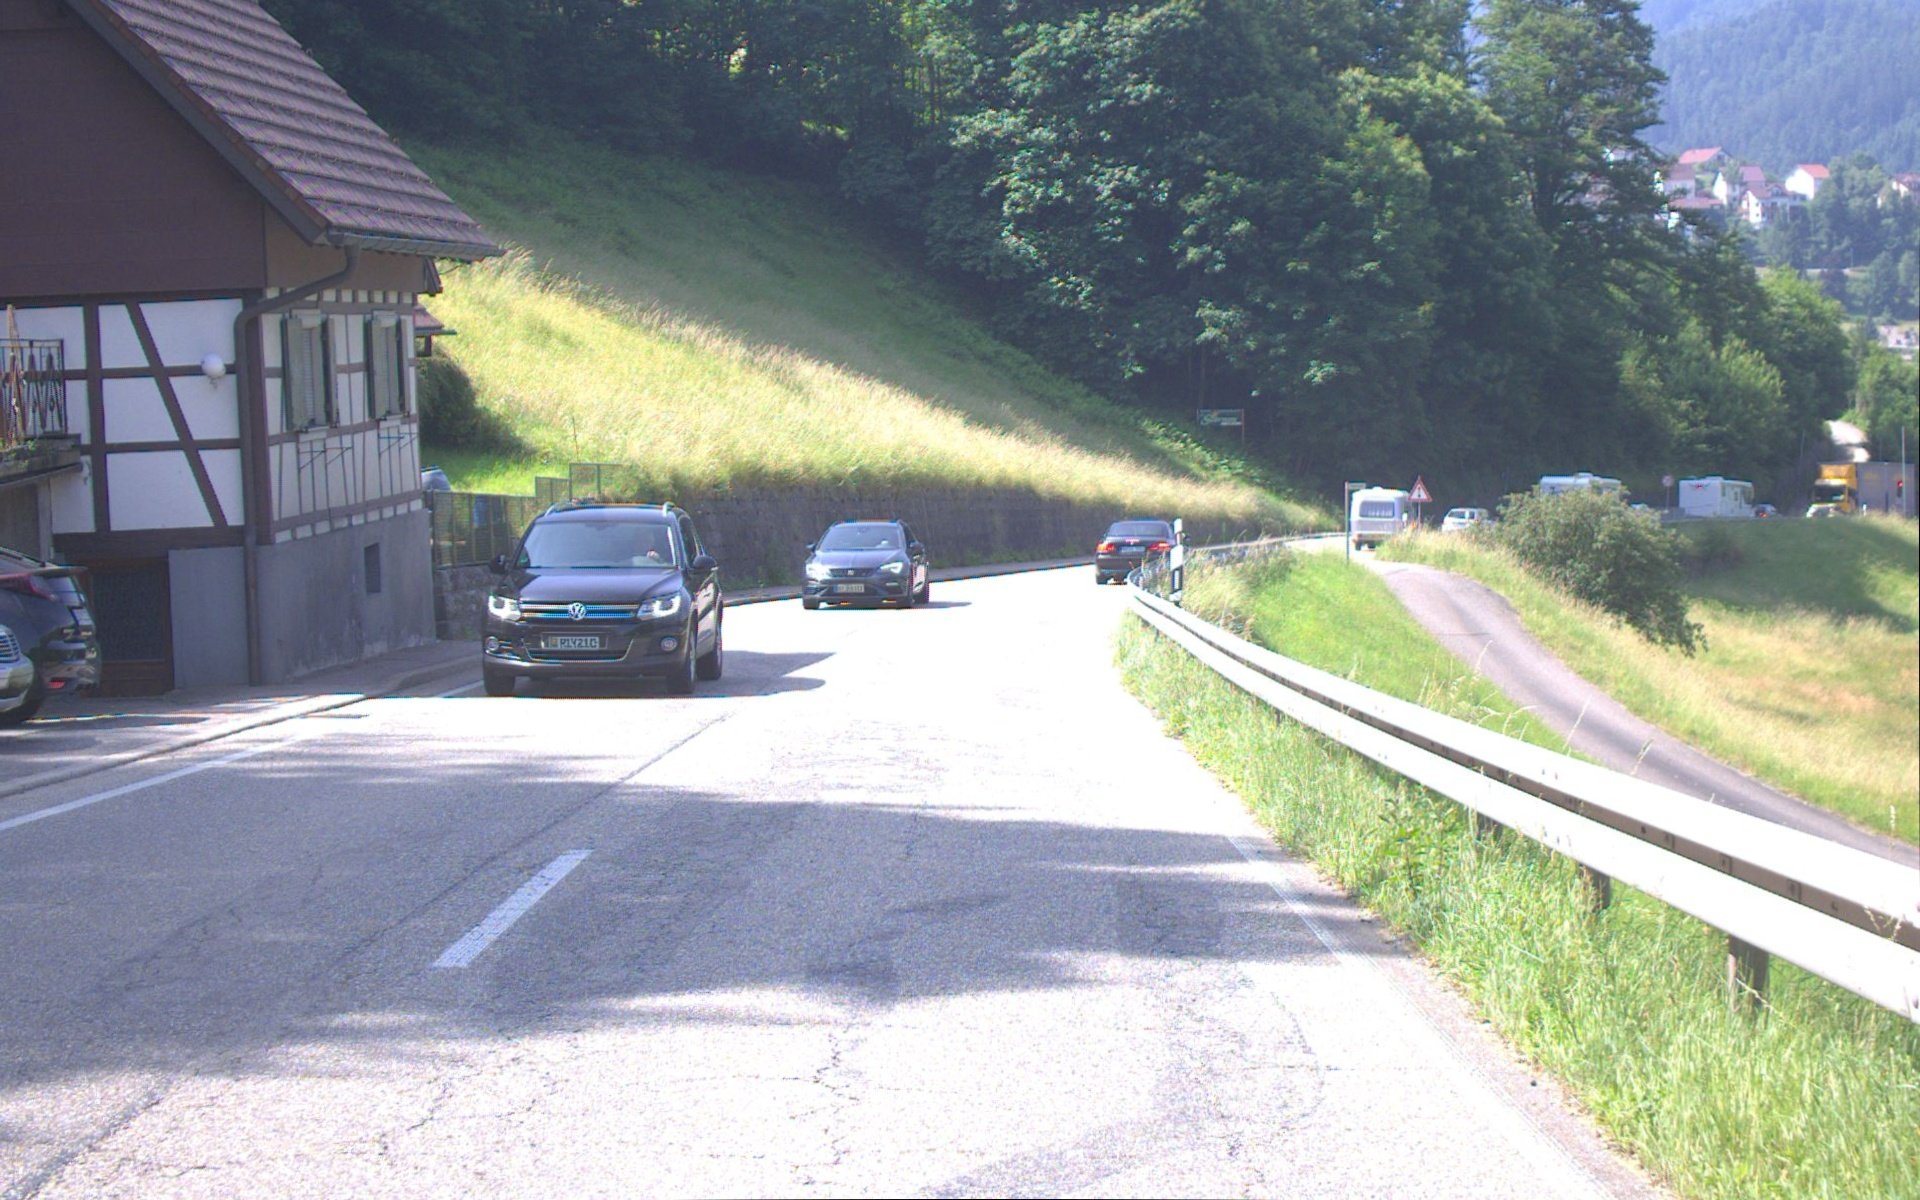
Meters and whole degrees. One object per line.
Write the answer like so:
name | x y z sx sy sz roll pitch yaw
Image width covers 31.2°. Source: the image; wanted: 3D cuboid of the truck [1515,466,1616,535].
truck | 28.151 -4.662 159.712 2.795 2.987 6.859 4 4 25

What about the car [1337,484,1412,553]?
car | 15.146 -3.011 125.403 1.995 2.344 4.911 2 3 15

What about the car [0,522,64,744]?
car | -8.073 0.206 22.630 3.816 1.412 1.857 0 2 3

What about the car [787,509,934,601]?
car | -1.608 -0.779 57.133 1.765 1.391 4.144 1 3 8

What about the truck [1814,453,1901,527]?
truck | 56.297 -6.883 215.533 3.195 4.381 6.559 4 3 33

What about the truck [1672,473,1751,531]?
truck | 39.165 -5.081 179.125 2.241 2.794 6.222 3 1 29

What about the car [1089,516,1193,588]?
car | 3.827 -1.038 72.370 1.772 1.331 3.766 2 3 9

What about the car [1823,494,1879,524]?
car | 51.603 -5.254 199.063 1.910 1.481 3.993 6 3 32

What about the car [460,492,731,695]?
car | -3.175 -0.121 30.731 1.889 1.639 4.258 0 2 1

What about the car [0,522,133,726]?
car | -8.304 0.146 25.547 3.816 1.428 1.864 0 2 3

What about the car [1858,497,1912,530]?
car | 55.856 -5.219 207.510 1.997 1.919 3.993 4 3 32

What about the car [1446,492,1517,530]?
car | 21.838 -3.738 143.779 1.996 1.479 3.996 4 3 22
